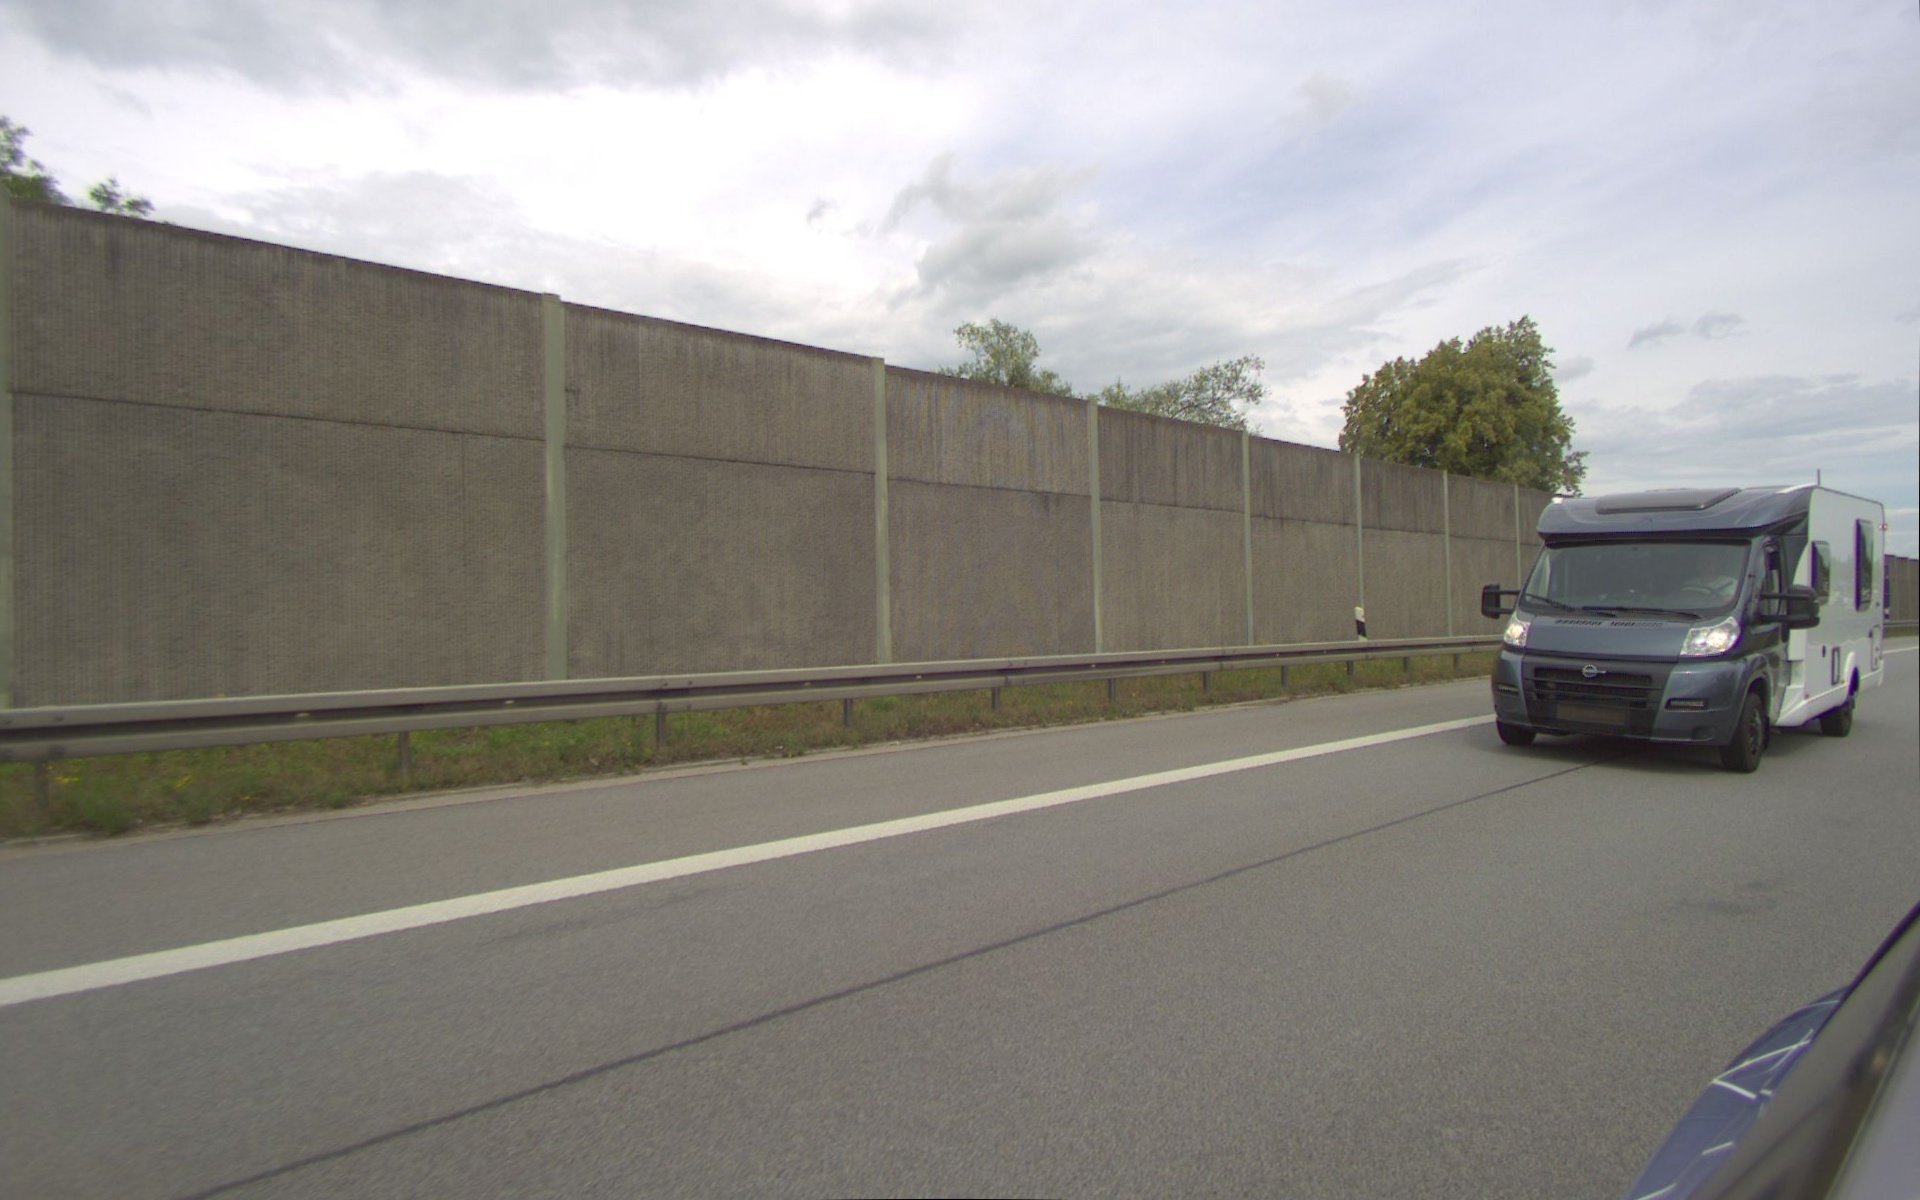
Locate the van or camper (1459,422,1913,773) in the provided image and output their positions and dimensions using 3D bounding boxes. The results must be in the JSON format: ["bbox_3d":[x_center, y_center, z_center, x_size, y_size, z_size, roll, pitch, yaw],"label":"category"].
[{"bbox_3d":[8.283,-0.013,11.122,7.098,2.731,2.433,0,0,-41],"label":"van or camper"}]
